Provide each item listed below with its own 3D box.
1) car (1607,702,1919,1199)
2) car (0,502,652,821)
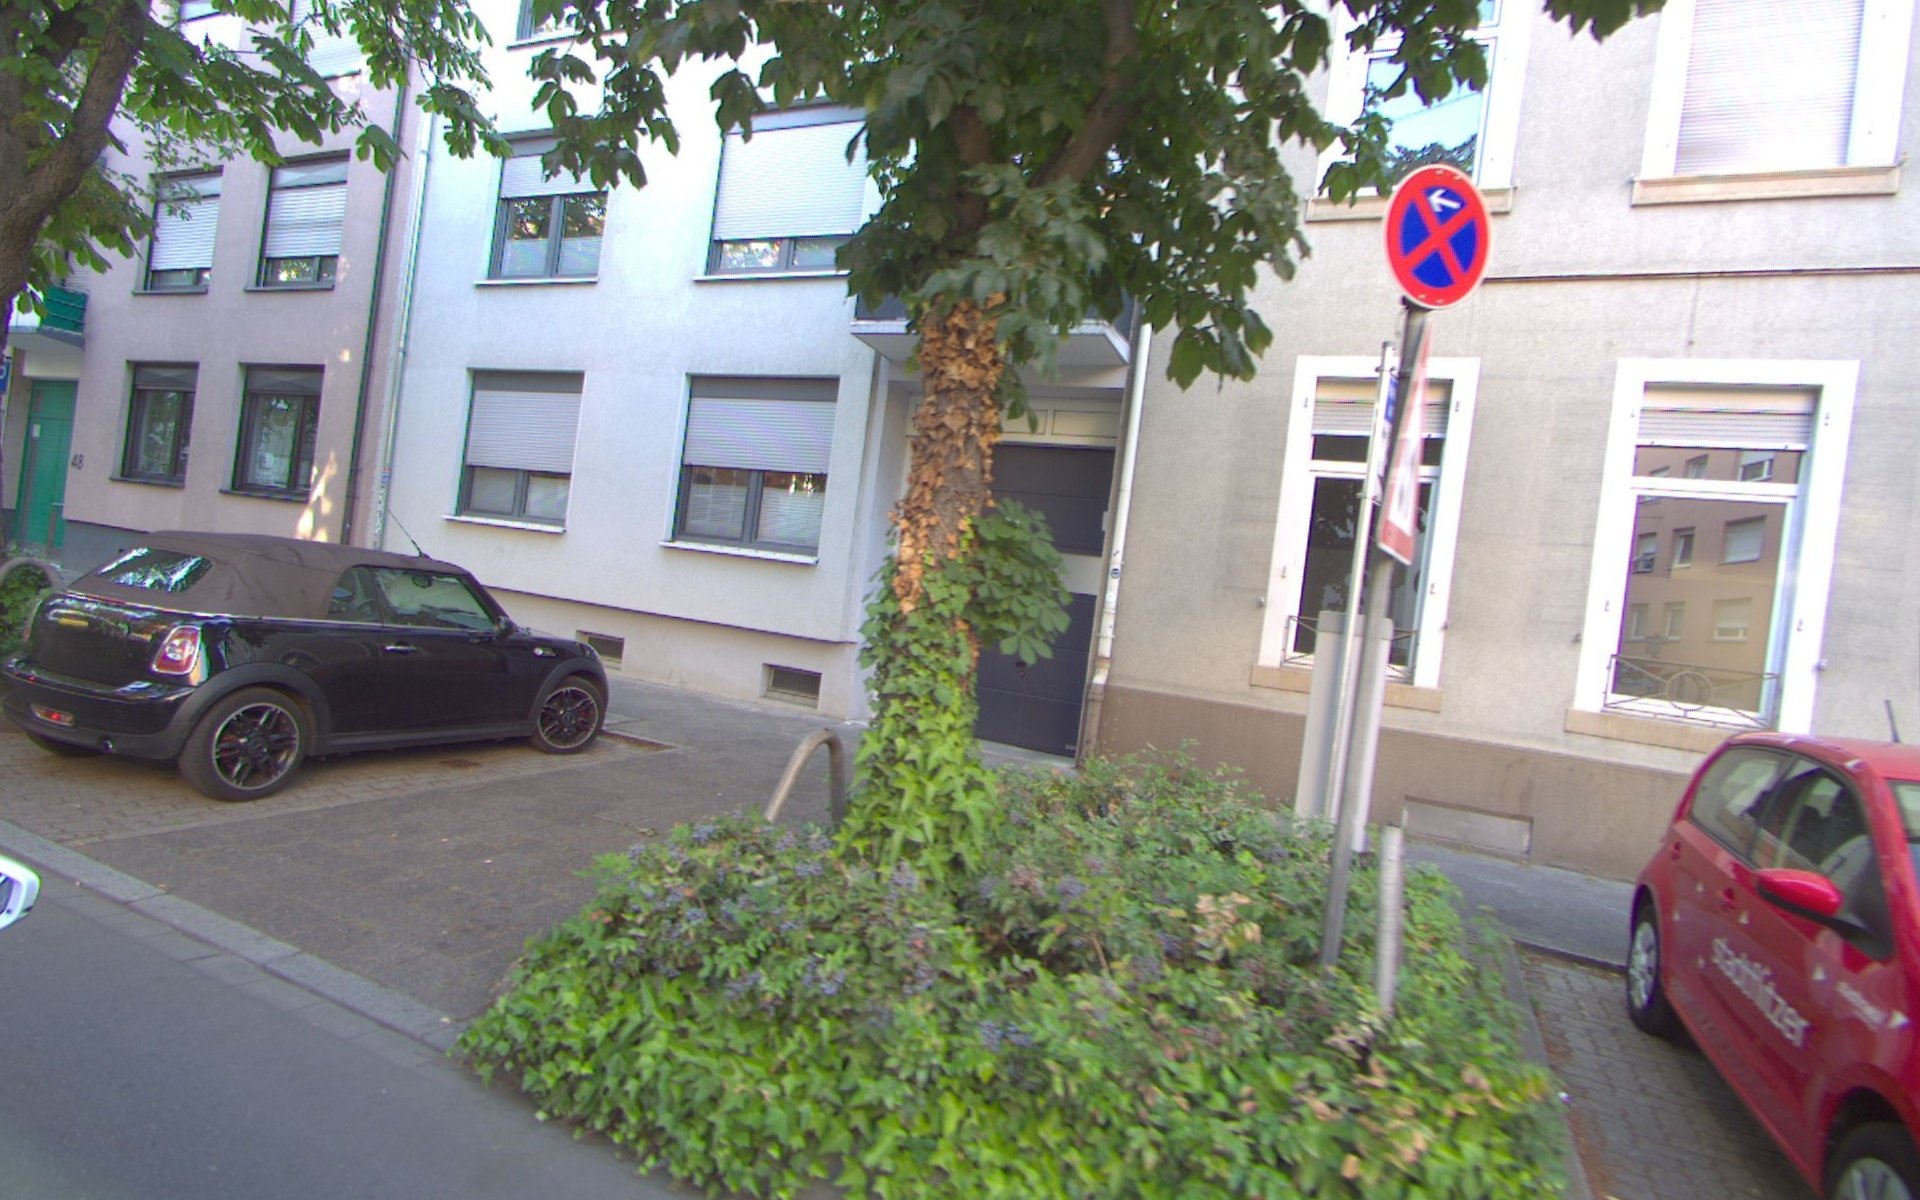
[{"bbox_3d":[3.383,1.249,3.161,1.537,1.494,3.666,7,0,24],"label":"car"},{"bbox_3d":[-4.025,0.310,6.915,1.597,1.446,3.711,7,2,21],"label":"car"}]
